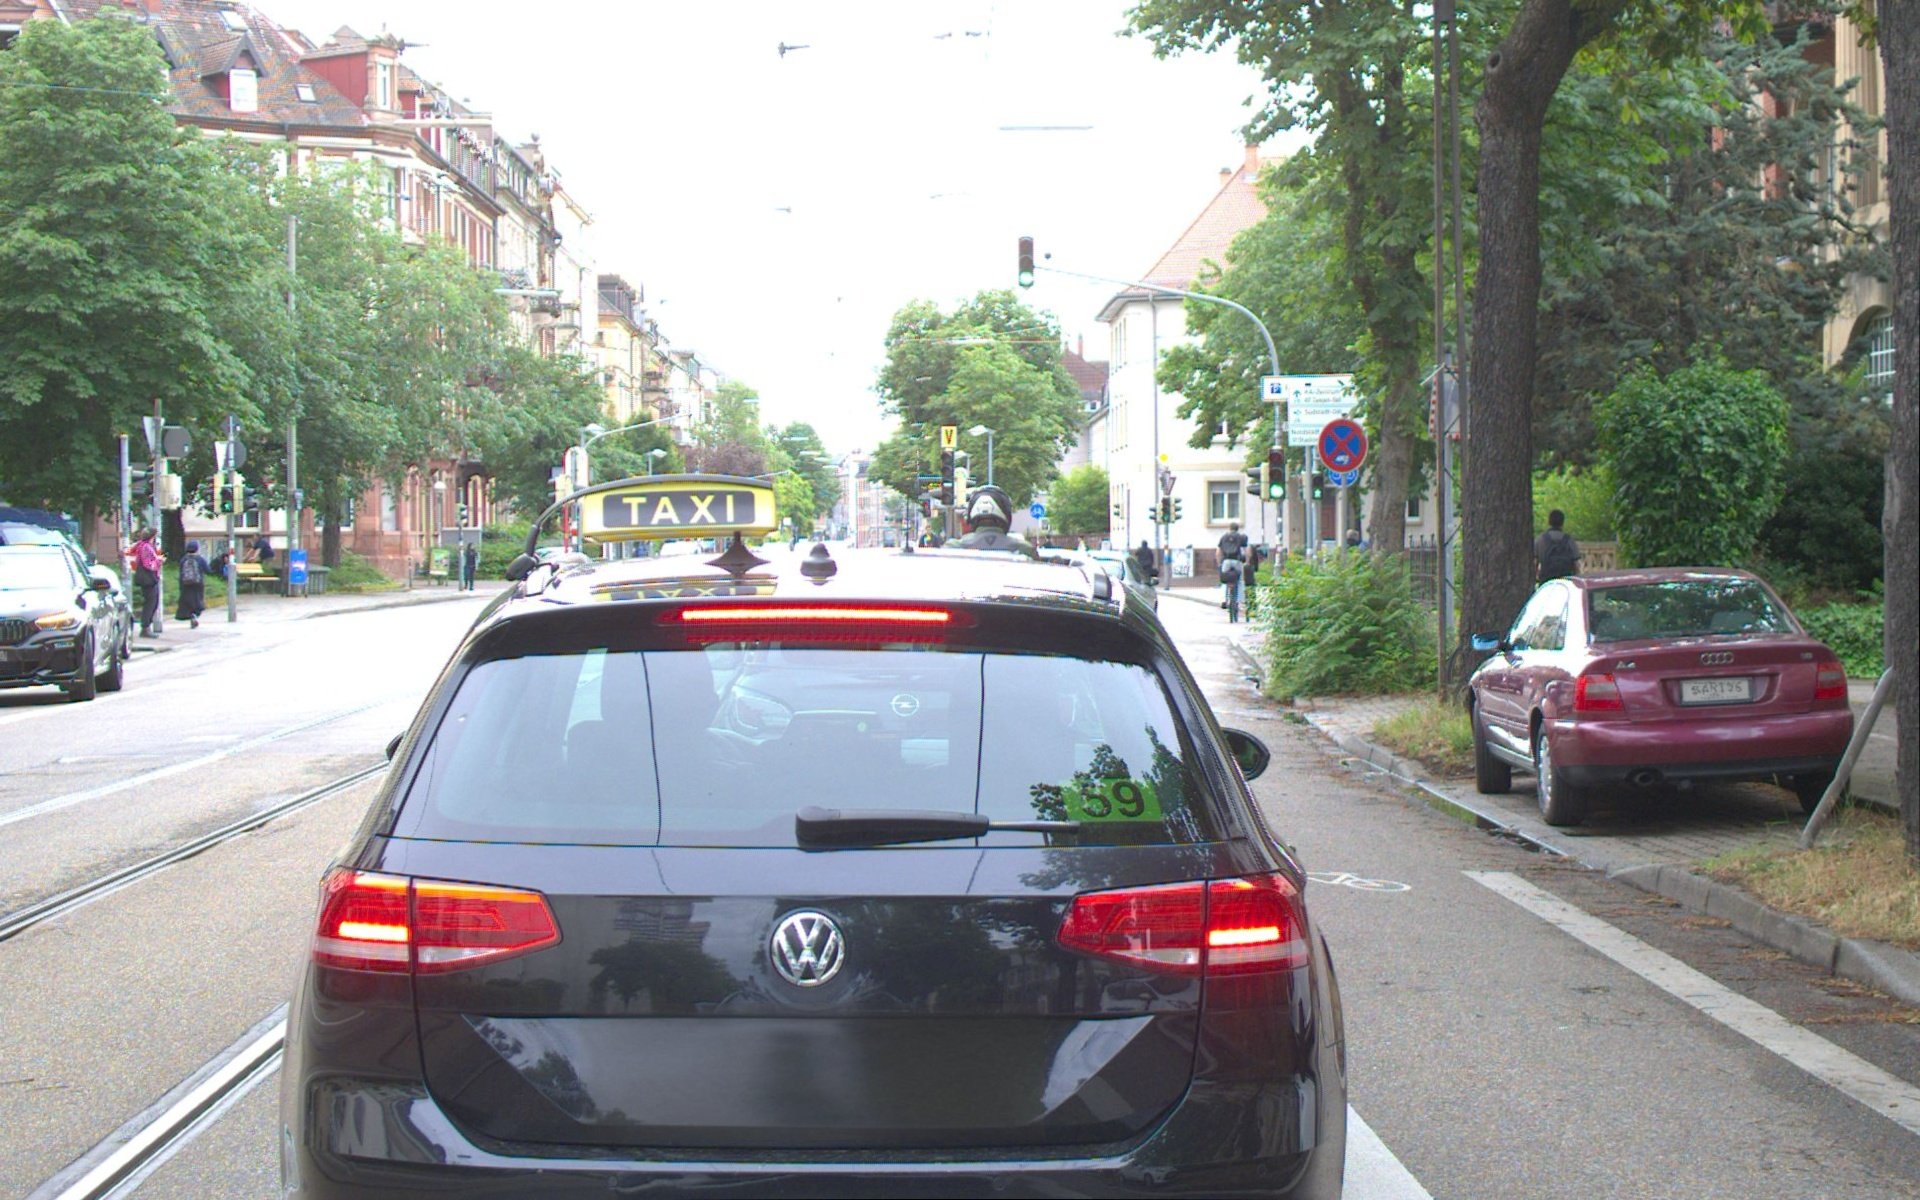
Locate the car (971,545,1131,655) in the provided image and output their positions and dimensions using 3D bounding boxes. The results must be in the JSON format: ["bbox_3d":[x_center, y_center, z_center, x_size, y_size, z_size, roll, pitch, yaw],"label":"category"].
[{"bbox_3d":[1.291,-0.028,47.074,1.892,1.403,3.999,-1,1,6],"label":"car"}]

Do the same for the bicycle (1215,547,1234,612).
[{"bbox_3d":[5.085,-0.407,66.084,0.297,1.219,1.430,0,1,7],"label":"bicycle"}]

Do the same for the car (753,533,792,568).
[{"bbox_3d":[-8.983,-2.376,164.997,1.721,1.617,3.864,-1,1,-1],"label":"car"}]

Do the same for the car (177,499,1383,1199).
[{"bbox_3d":[-0.279,0.588,6.925,1.723,1.541,4.000,0,1,-1],"label":"car"}]

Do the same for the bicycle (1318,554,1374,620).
[{"bbox_3d":[7.061,-0.246,62.888,1.153,1.192,0.253,-1,1,-38],"label":"bicycle"}]

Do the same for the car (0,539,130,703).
[{"bbox_3d":[-10.150,0.206,37.075,1.882,1.606,4.889,-3,1,-9],"label":"car"}]

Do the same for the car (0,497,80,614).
[{"bbox_3d":[-21.123,-0.960,73.428,2.180,2.409,5.377,-1,1,-43],"label":"car"}]

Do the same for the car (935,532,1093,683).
[{"bbox_3d":[0.550,0.064,37.557,1.606,1.550,3.578,1,0,-1],"label":"car"}]

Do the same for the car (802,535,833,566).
[{"bbox_3d":[-9.466,-3.290,228.932,1.993,2.007,4.000,1,0,-2],"label":"car"}]

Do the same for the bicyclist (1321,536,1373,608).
[{"bbox_3d":[7.083,-0.521,62.918,0.693,1.297,0.653,-1,1,-38],"label":"bicyclist"}]

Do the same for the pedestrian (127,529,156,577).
[{"bbox_3d":[-25.640,-1.475,107.738,0.589,1.515,0.647,0,1,35],"label":"pedestrian"}]

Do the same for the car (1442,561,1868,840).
[{"bbox_3d":[4.026,0.516,20.547,1.602,1.394,4.227,-2,1,-1],"label":"car"}]

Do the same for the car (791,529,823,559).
[{"bbox_3d":[-8.627,-3.175,194.144,1.721,1.617,3.864,-1,1,-1],"label":"car"}]

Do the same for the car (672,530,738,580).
[{"bbox_3d":[-9.311,-1.644,125.656,1.993,1.784,4.000,1,0,2],"label":"car"}]

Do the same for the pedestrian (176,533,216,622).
[{"bbox_3d":[-14.385,-0.435,64.748,0.589,1.657,0.839,0,1,-4],"label":"pedestrian"}]

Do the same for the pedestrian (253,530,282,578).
[{"bbox_3d":[-21.952,-1.459,108.992,0.589,1.515,0.647,0,1,35],"label":"pedestrian"}]

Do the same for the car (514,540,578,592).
[{"bbox_3d":[-11.942,-0.988,99.386,1.608,1.417,3.487,-1,1,-3],"label":"car"}]

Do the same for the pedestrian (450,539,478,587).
[{"bbox_3d":[-15.852,-1.184,109.823,0.589,1.515,0.647,0,1,35],"label":"pedestrian"}]

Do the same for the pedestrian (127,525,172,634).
[{"bbox_3d":[-13.730,-0.355,58.271,0.623,1.836,0.610,0,1,-3],"label":"pedestrian"}]

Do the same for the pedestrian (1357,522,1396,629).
[{"bbox_3d":[7.294,-0.432,60.144,0.514,1.824,0.417,-3,1,16],"label":"pedestrian"}]

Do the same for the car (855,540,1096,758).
[{"bbox_3d":[0.088,0.316,26.598,1.723,1.541,4.000,0,1,-1],"label":"car"}]

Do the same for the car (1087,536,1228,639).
[{"bbox_3d":[3.150,-0.215,55.559,1.993,1.572,4.000,1,0,-1],"label":"car"}]

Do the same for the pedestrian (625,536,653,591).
[{"bbox_3d":[-8.869,-1.017,95.050,0.714,1.515,0.590,0,1,1],"label":"pedestrian"}]

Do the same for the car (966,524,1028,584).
[{"bbox_3d":[1.261,-1.571,118.942,2.033,2.007,4.000,1,0,-1],"label":"car"}]

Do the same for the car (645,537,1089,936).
[{"bbox_3d":[-0.383,0.496,15.375,1.723,1.541,4.000,0,1,-1],"label":"car"}]

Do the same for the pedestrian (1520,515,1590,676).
[{"bbox_3d":[6.758,-0.052,39.081,0.632,1.808,0.726,0,1,-3],"label":"pedestrian"}]

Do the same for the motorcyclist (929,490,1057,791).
[{"bbox_3d":[0.182,0.218,19.733,0.703,1.686,0.804,-1,1,-1],"label":"motorcyclist"}]

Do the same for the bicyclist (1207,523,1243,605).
[{"bbox_3d":[5.101,-0.699,66.155,0.651,1.563,0.695,0,1,7],"label":"bicyclist"}]

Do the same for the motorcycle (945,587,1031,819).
[{"bbox_3d":[0.147,0.559,19.668,0.446,1.231,1.907,-1,1,-1],"label":"motorcycle"}]

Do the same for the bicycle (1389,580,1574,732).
[{"bbox_3d":[4.252,0.444,27.939,0.433,1.194,1.899,1,0,45],"label":"bicycle"}]

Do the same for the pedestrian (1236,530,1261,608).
[{"bbox_3d":[5.771,-0.626,68.780,0.450,1.556,0.479,0,1,7],"label":"pedestrian"}]
